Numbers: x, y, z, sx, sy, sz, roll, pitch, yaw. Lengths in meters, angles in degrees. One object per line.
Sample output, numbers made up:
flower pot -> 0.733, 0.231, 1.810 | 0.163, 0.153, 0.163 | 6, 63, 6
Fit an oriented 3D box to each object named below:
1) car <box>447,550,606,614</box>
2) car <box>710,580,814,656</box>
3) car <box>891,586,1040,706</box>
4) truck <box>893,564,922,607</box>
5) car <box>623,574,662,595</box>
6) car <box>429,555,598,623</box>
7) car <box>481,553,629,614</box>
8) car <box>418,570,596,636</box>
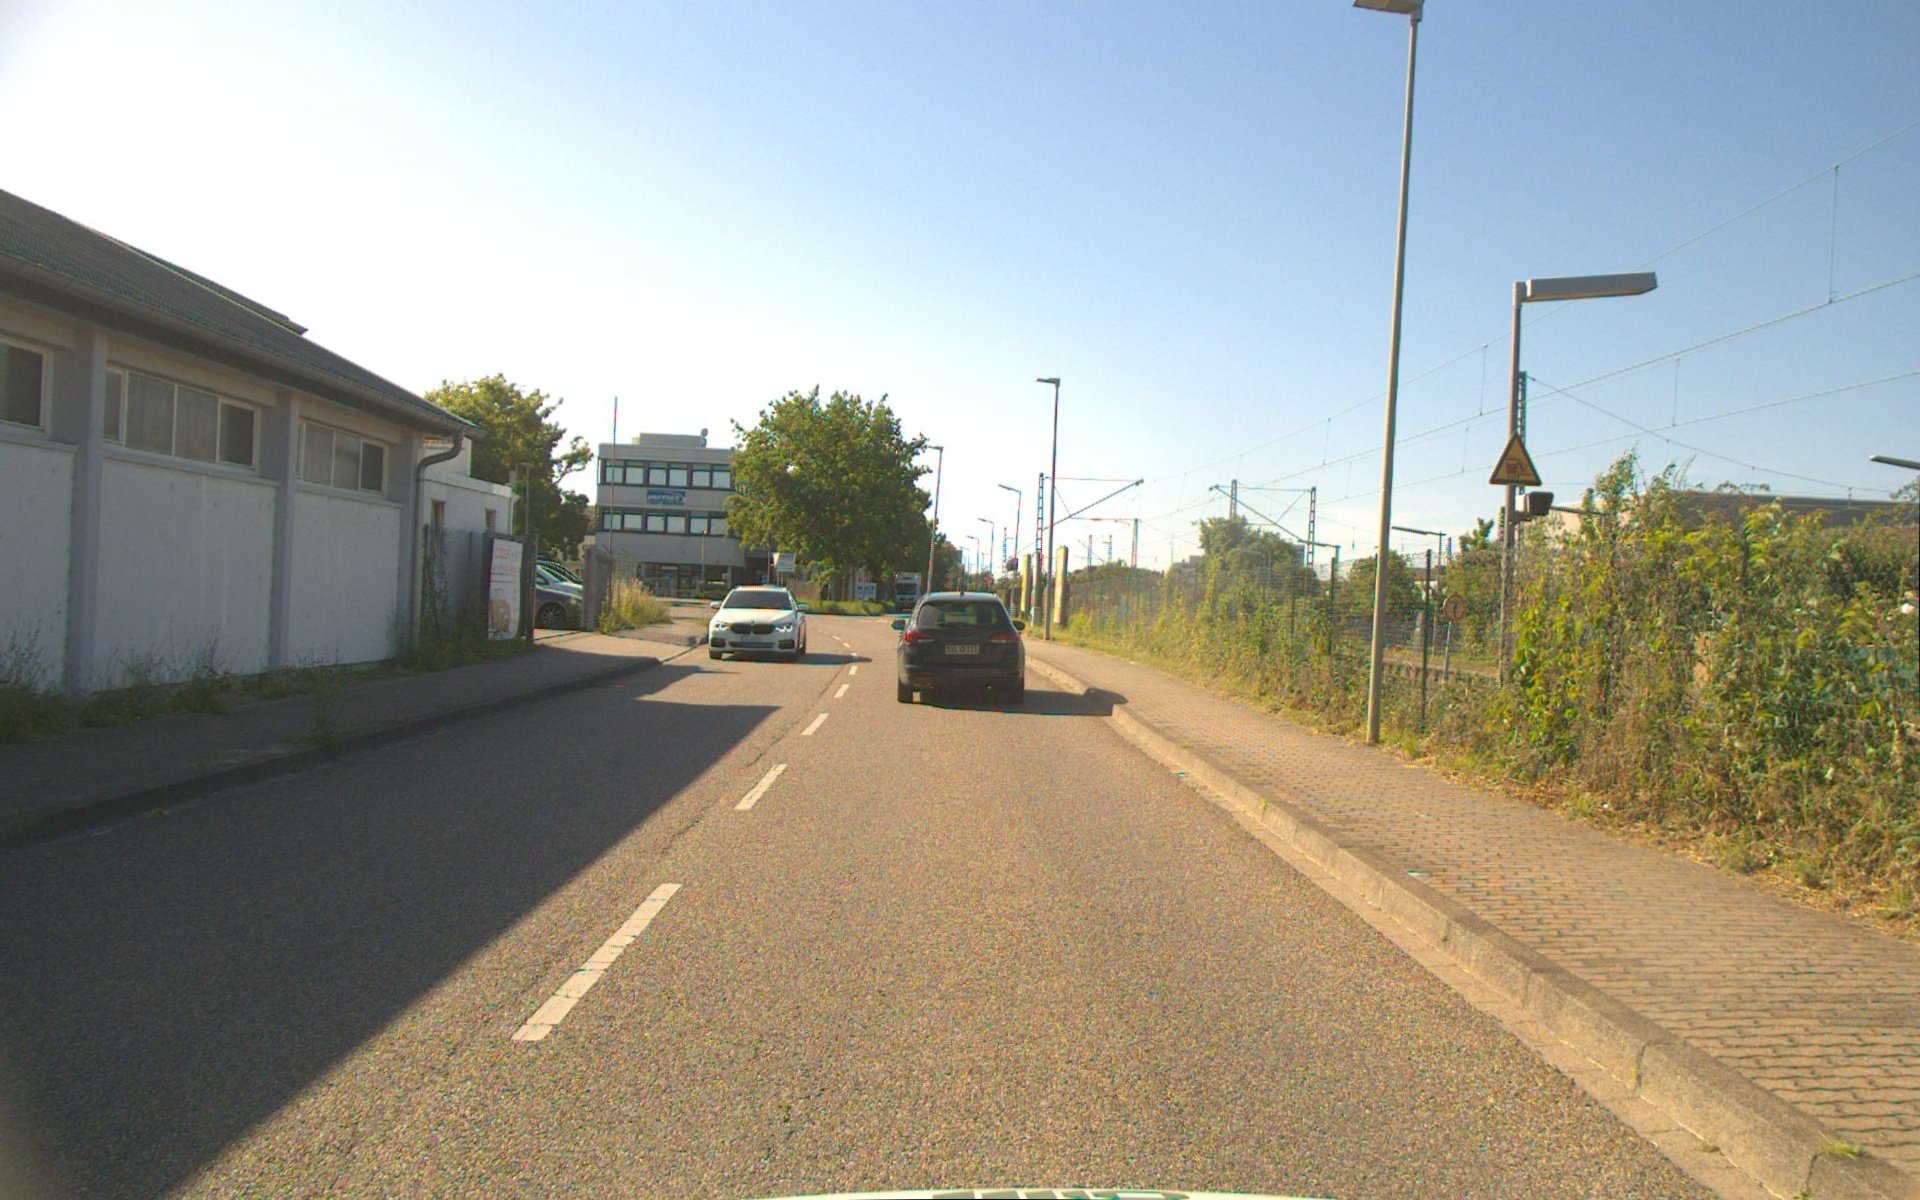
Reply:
car -> -12.539, -0.513, 48.065 | 4.314, 1.677, 1.834 | 2, 0, -14
car -> -4.171, 0.334, 35.438 | 1.772, 1.504, 4.686 | 0, 0, -2
car -> 0.022, 0.589, 23.657 | 1.903, 1.515, 4.564 | 1, 0, -1
truck -> -5.276, -1.372, 163.837 | 2.561, 3.952, 13.525 | 3, 0, -3
car -> -25.040, -1.210, 130.554 | 1.952, 1.510, 4.928 | 2, 1, 2
car -> -12.269, -0.304, 45.721 | 4.311, 1.677, 1.835 | 2, 0, -11
car -> -12.484, -0.505, 51.034 | 4.318, 1.677, 1.833 | 2, 0, -16
car -> -11.765, 0.076, 43.224 | 4.311, 1.533, 1.835 | 2, 0, -11
